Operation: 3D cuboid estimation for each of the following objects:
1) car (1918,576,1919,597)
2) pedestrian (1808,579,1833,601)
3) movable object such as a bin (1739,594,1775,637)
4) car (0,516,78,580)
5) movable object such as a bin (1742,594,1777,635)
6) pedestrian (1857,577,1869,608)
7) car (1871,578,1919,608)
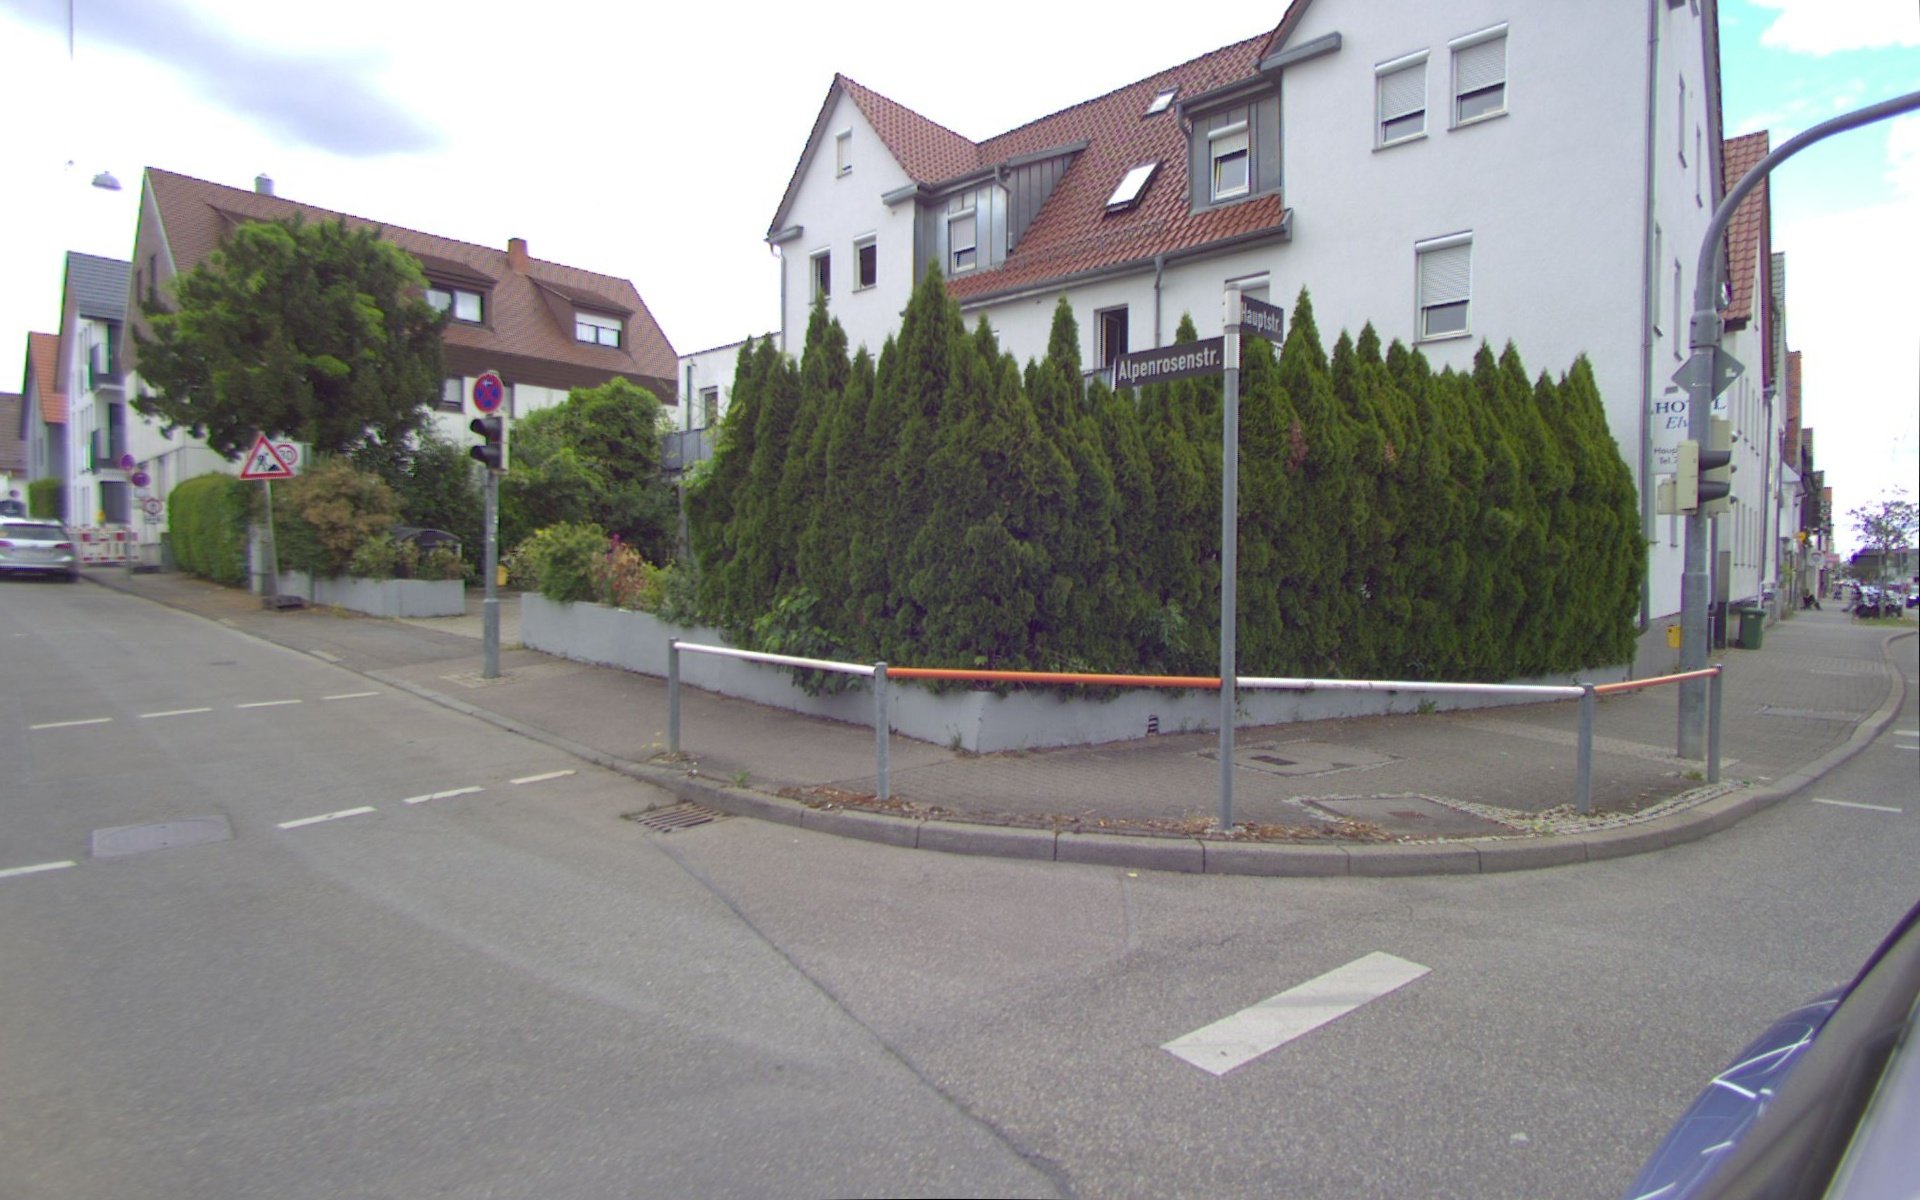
[{"bbox_3d":[72.535,-1.051,75.267,1.841,1.538,3.939,0,1,43],"label":"car"},{"bbox_3d":[52.007,-0.591,61.172,0.654,1.295,0.984,0,2,-35],"label":"pedestrian"},{"bbox_3d":[18.102,0.342,22.990,0.564,0.914,0.511,3,3,44],"label":"movable object such as a bin"},{"bbox_3d":[-22.537,-1.268,24.397,1.699,1.426,3.991,-1,4,-44],"label":"car"},{"bbox_3d":[18.527,0.331,23.457,0.564,0.914,0.511,3,3,44],"label":"movable object such as a bin"},{"bbox_3d":[53.548,-0.447,60.006,0.496,1.775,0.444,2,2,44],"label":"pedestrian"},{"bbox_3d":[51.714,-0.417,56.028,1.839,1.538,3.941,0,1,41],"label":"car"}]
